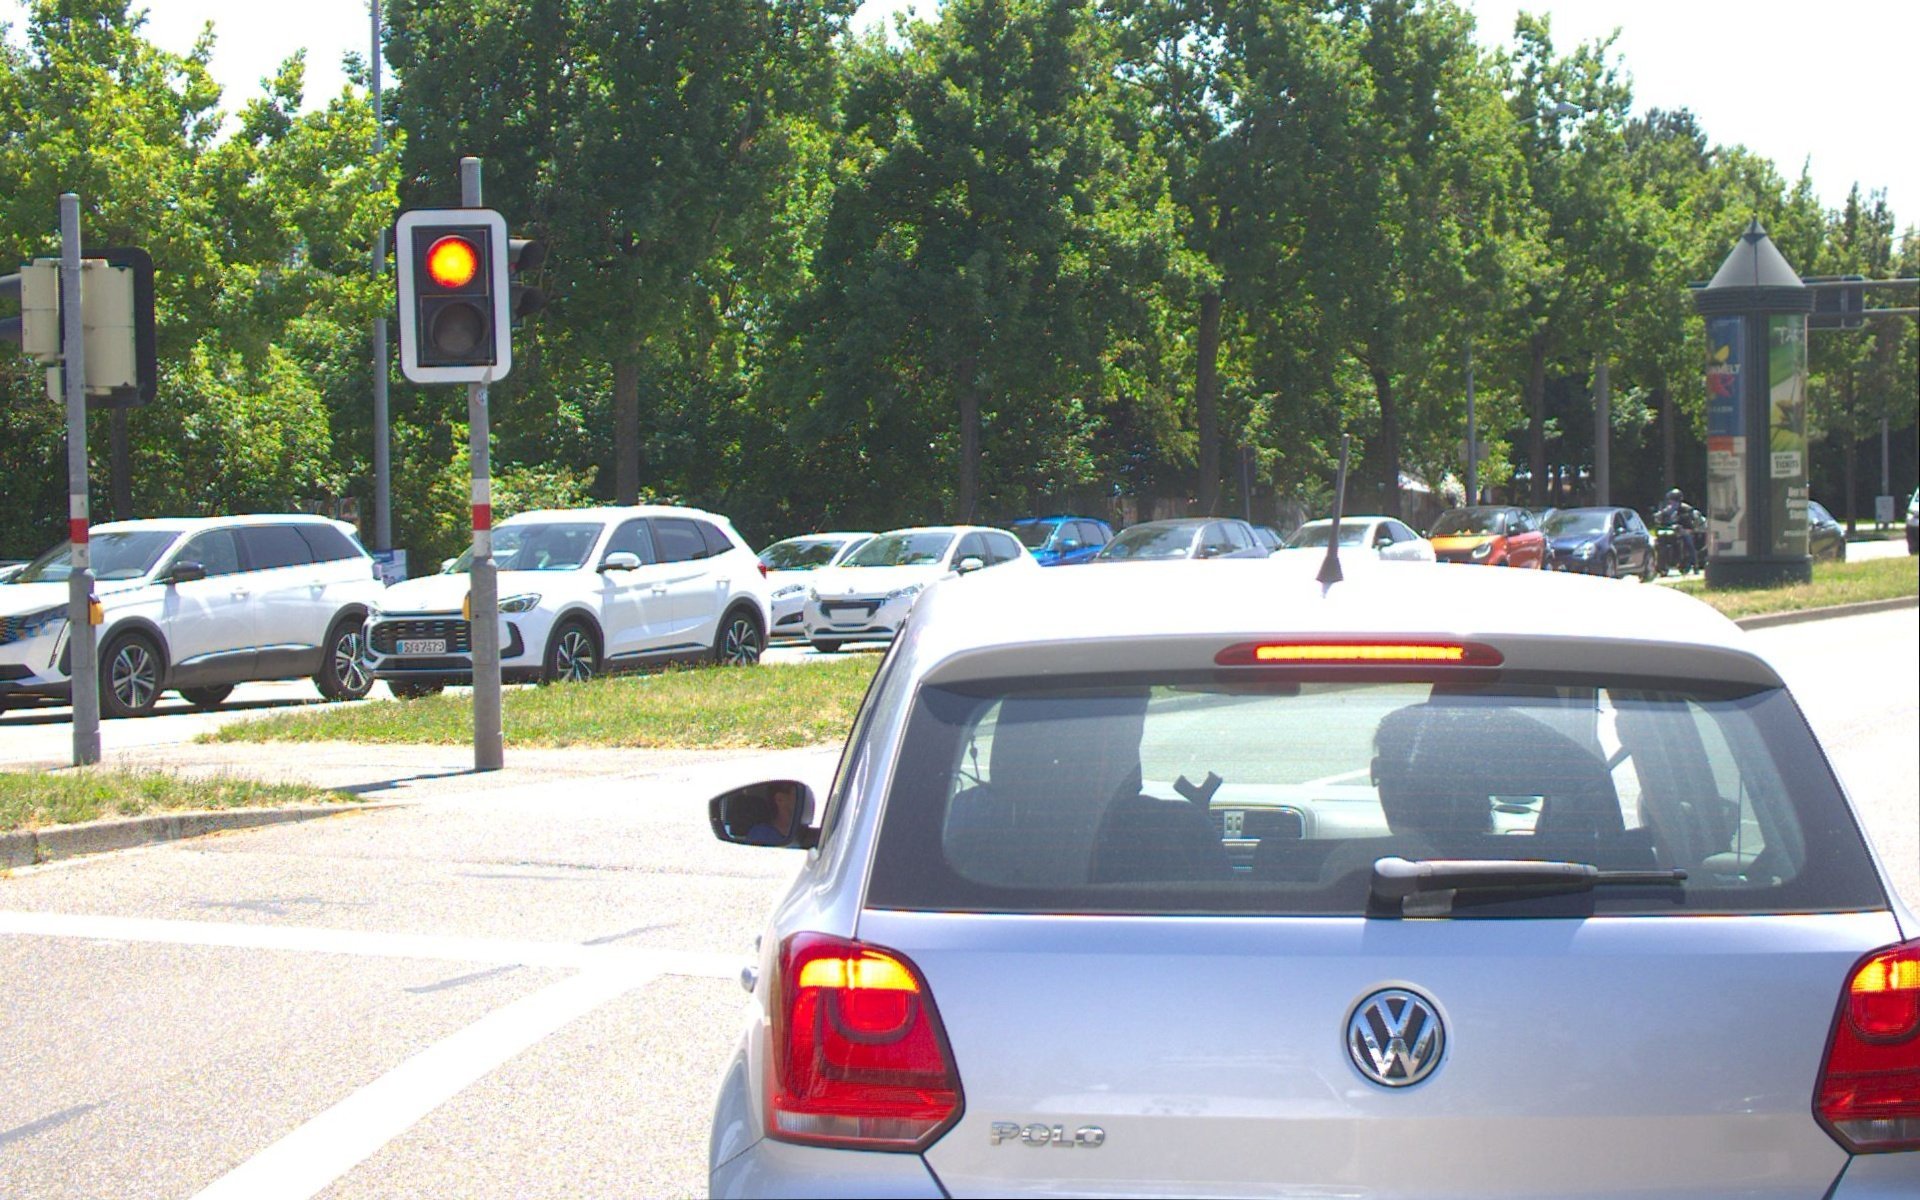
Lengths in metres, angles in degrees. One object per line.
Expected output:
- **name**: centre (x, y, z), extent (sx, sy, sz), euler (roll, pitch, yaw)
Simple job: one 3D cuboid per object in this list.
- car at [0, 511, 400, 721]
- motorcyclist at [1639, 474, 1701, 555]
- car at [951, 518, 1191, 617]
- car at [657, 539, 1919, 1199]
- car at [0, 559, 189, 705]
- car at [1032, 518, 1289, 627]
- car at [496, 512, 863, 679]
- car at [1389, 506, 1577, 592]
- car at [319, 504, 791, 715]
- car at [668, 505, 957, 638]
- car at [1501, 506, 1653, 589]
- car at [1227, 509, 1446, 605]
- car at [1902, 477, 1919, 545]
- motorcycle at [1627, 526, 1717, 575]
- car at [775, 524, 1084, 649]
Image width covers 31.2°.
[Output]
- **car**: centre (-6.849, 0.070, 29.031), extent (1.861, 1.612, 4.401), euler (0, 2, 29)
- **motorcyclist**: centre (14.316, -1.720, 69.318), extent (0.907, 1.581, 1.008), euler (-1, 0, 30)
- **car**: centre (1.735, -0.525, 52.164), extent (1.861, 1.417, 4.401), euler (0, 2, 29)
- **car**: centre (0.516, 0.640, 5.705), extent (1.776, 1.417, 4.001), euler (0, 2, -2)
- **car**: centre (-9.294, 0.296, 31.577), extent (1.861, 1.266, 4.401), euler (0, 2, 29)
- **car**: centre (2.845, -0.410, 47.775), extent (1.861, 1.417, 4.401), euler (0, 2, 29)
- **car**: centre (-2.966, -0.102, 37.375), extent (1.861, 1.677, 4.401), euler (0, 2, 29)
- **car**: centre (9.181, -0.914, 60.063), extent (1.861, 1.417, 4.401), euler (0, 2, 29)
- **car**: centre (-3.420, 0.018, 29.907), extent (1.861, 1.677, 4.401), euler (0, 2, 29)
- **car**: centre (-1.911, -0.422, 46.126), extent (1.861, 1.677, 4.401), euler (0, 2, 29)
- **car**: centre (11.556, -0.990, 64.256), extent (1.718, 1.470, 3.791), euler (-1, 0, 27)
- **car**: centre (5.928, -0.698, 53.659), extent (1.861, 1.417, 4.401), euler (0, 2, 29)
- **car**: centre (23.177, -2.064, 79.613), extent (1.865, 1.549, 3.994), euler (0, 2, 27)
- **motorcycle**: centre (14.383, -1.014, 69.395), extent (0.897, 0.949, 2.811), euler (-1, 0, 31)
- **car**: centre (-0.303, -0.204, 42.003), extent (1.861, 1.417, 4.401), euler (0, 2, 29)
